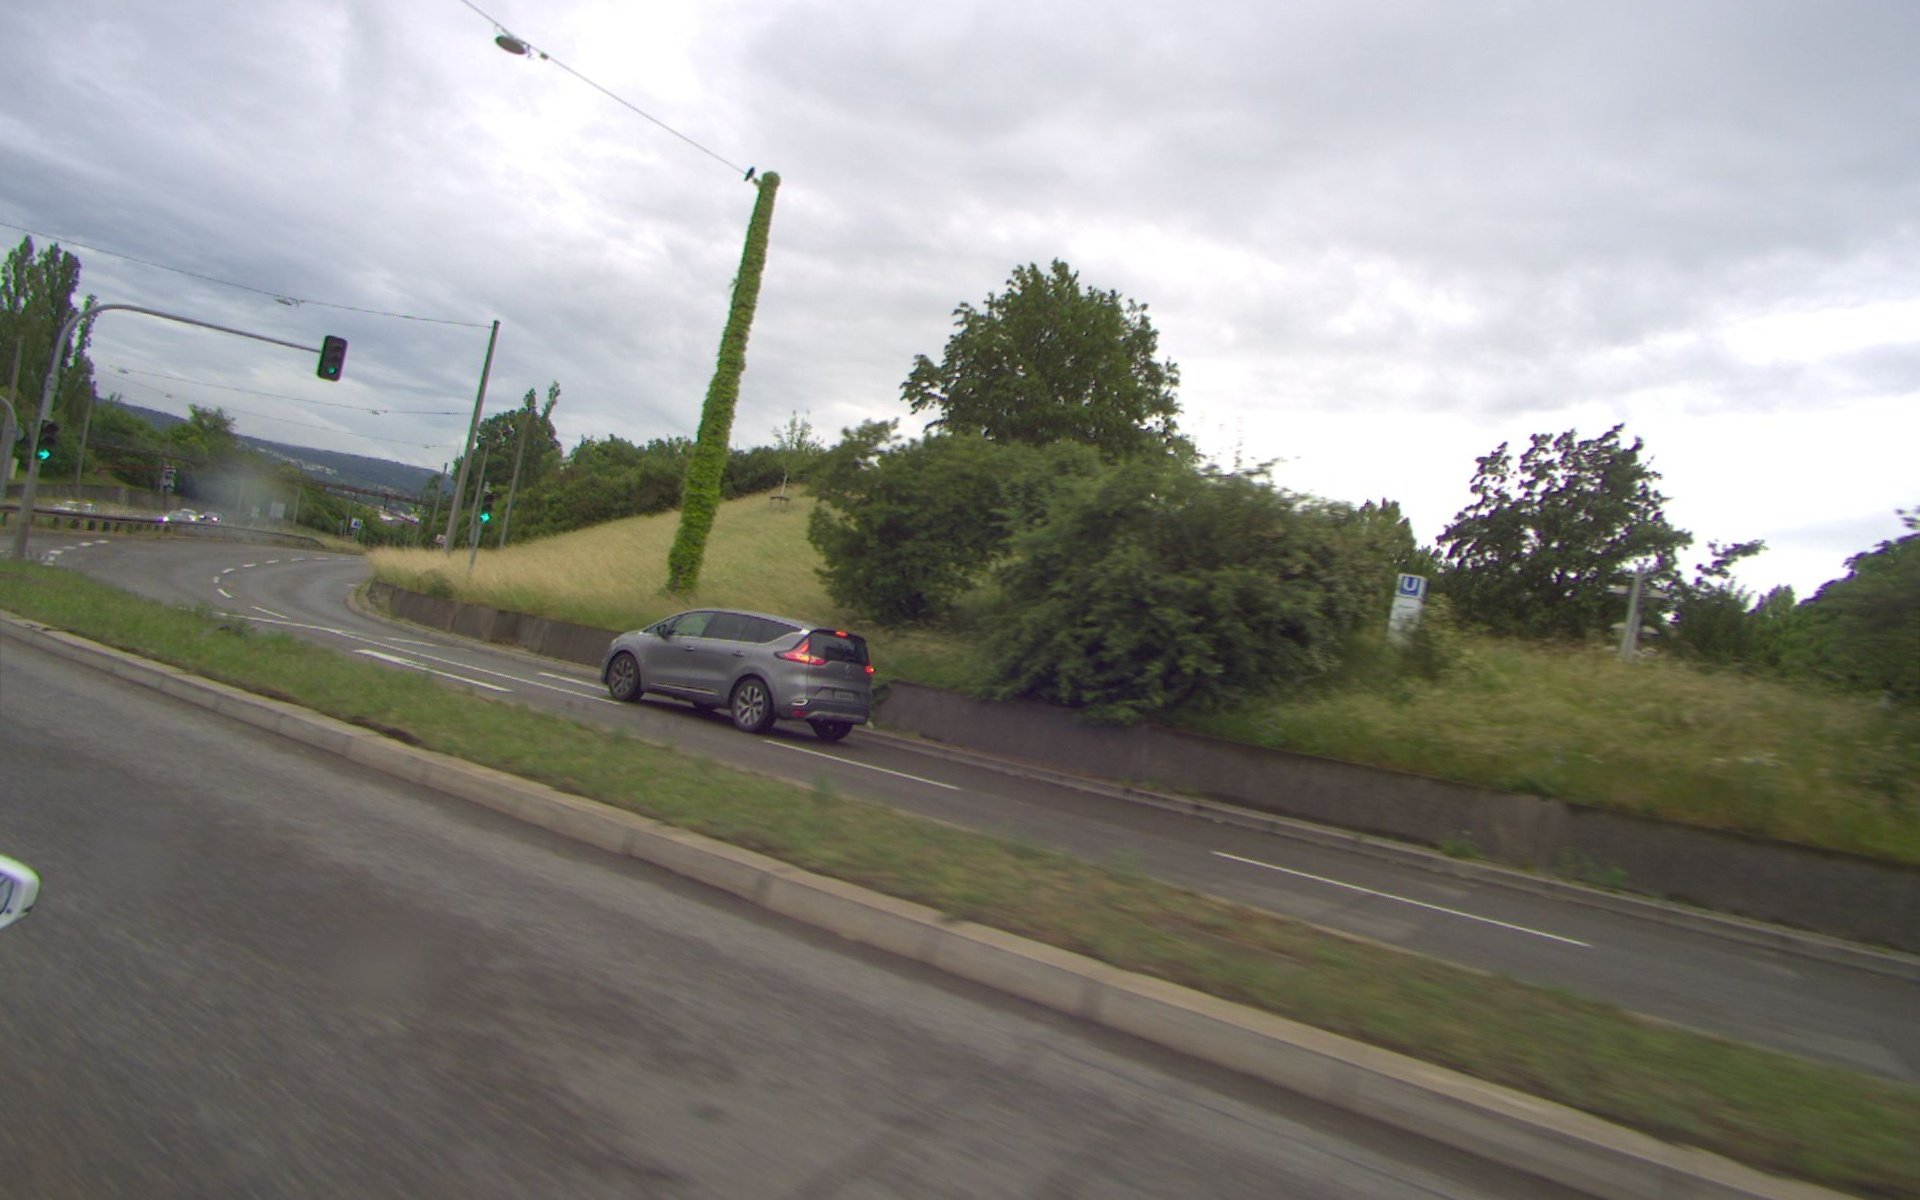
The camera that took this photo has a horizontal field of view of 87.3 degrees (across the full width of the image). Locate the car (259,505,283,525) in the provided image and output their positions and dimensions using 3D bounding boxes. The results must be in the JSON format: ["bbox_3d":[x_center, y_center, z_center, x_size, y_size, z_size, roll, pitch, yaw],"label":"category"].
[{"bbox_3d":[-91.382,-11.284,133.547,2.063,2.107,4.334,12,-1,-31],"label":"car"}]

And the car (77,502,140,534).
[{"bbox_3d":[-57.587,-5.515,68.113,1.978,1.636,3.976,12,-1,-24],"label":"car"}]

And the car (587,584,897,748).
[{"bbox_3d":[-3.355,0.938,15.098,4.552,1.666,1.730,7,-5,35],"label":"car"}]
